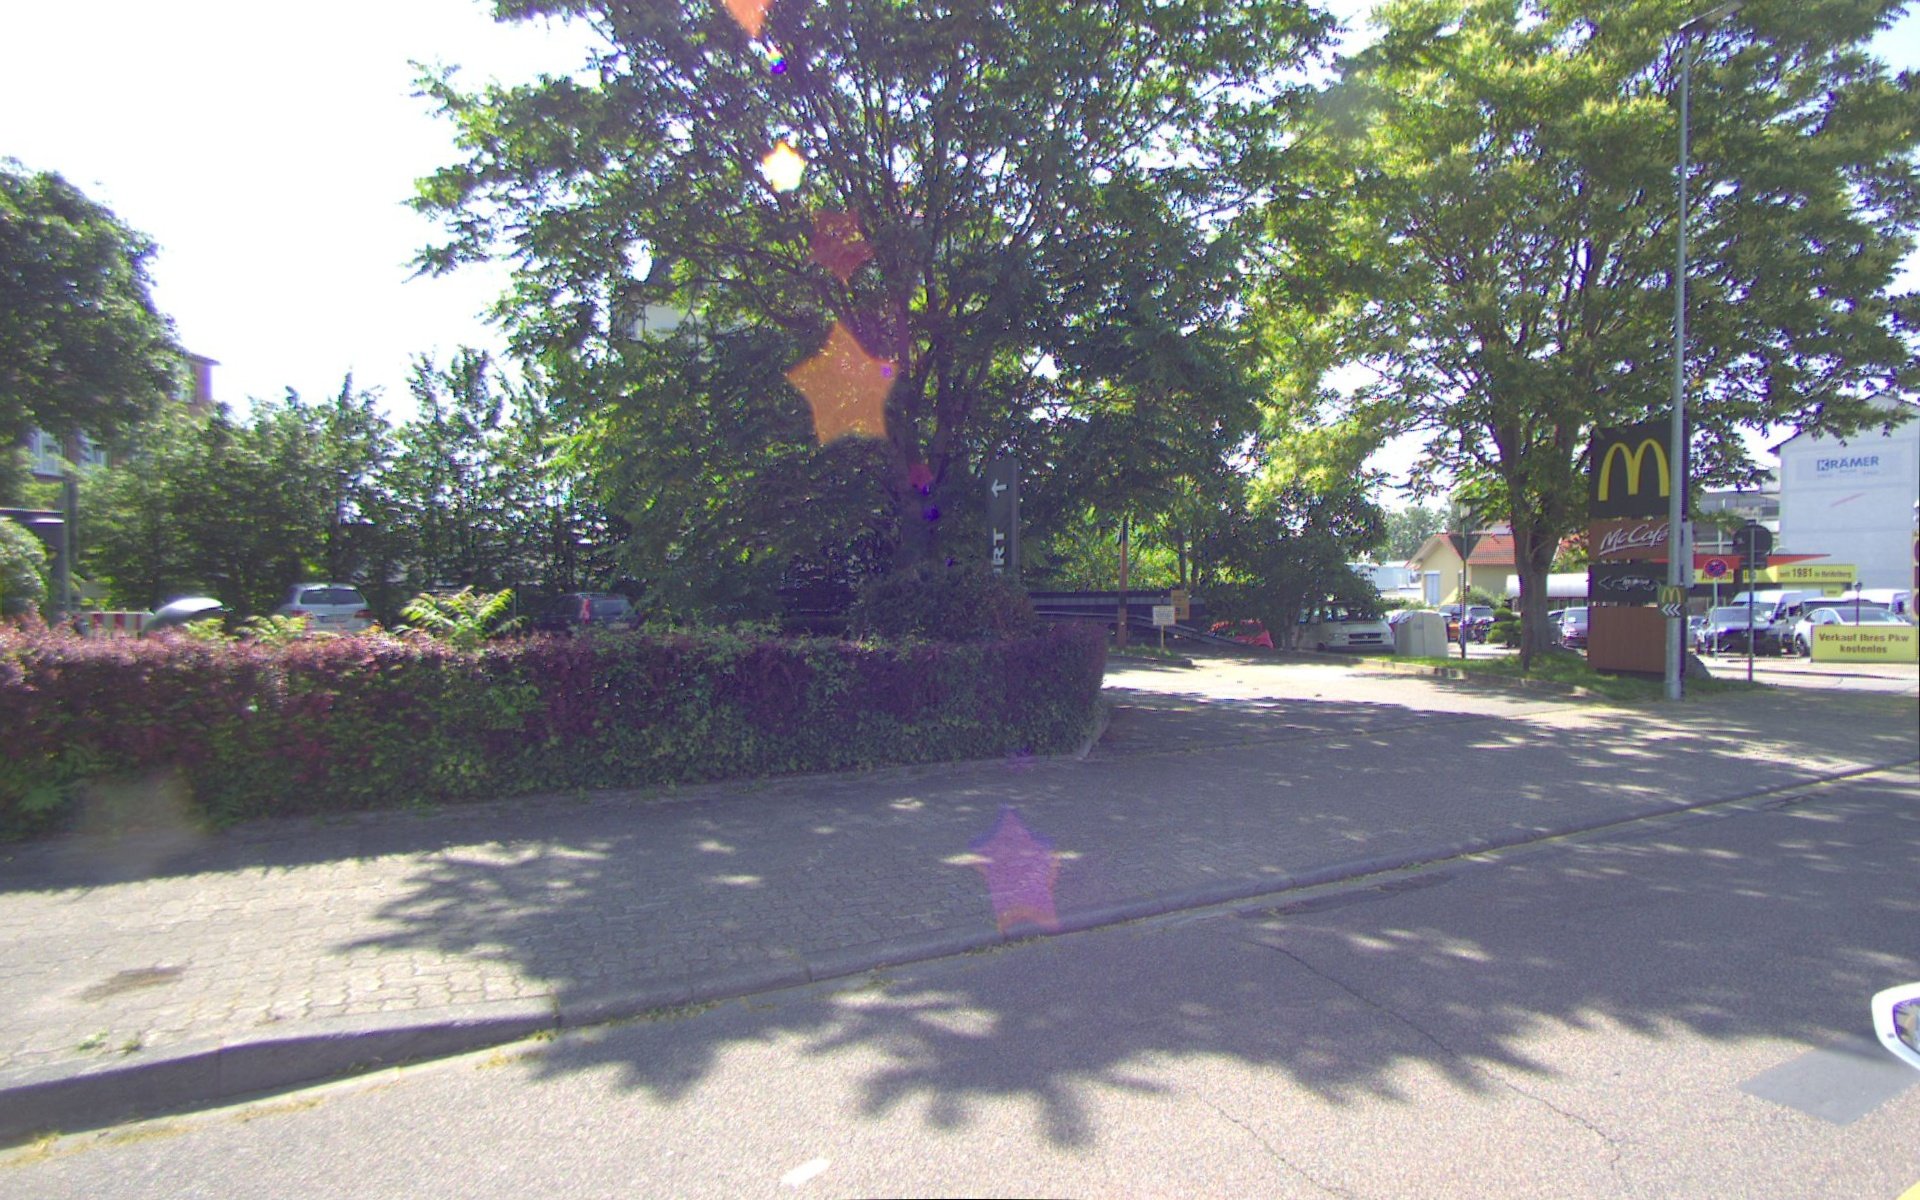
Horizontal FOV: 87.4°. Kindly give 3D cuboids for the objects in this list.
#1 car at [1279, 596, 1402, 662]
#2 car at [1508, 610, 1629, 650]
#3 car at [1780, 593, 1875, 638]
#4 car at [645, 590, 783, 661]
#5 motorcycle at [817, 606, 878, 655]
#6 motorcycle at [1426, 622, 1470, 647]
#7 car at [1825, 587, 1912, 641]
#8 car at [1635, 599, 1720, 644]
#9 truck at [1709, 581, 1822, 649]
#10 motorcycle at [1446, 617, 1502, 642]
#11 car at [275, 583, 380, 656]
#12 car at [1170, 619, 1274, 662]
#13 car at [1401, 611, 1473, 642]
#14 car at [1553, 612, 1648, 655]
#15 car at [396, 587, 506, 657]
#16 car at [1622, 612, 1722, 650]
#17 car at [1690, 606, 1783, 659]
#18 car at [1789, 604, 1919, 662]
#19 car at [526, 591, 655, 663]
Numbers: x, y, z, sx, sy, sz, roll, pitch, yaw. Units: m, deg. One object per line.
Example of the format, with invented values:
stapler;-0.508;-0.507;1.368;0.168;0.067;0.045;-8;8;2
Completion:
car;10.681;0.745;28.609;1.918;1.604;5.033;1;1;5
car;27.091;1.300;44.880;4.248;1.606;2.000;1;0;17
car;36.543;0.657;42.280;4.674;1.761;1.865;1;1;-35
car;-6.110;0.557;24.714;1.649;1.490;3.855;-1;3;-43
motorcycle;-2.890;0.765;25.755;1.578;1.185;0.568;1;1;34
motorcycle;24.766;1.759;51.015;1.837;1.174;0.790;1;0;6
car;41.415;0.613;45.757;4.667;2.315;2.120;1;0;-37
car;34.685;1.041;48.503;4.451;2.040;1.980;1;0;-35
truck;37.023;0.669;46.115;5.879;2.943;2.256;1;1;-33
motorcycle;27.324;1.576;53.421;2.673;1.243;0.996;1;0;-14
car;-15.791;0.415;24.988;1.759;1.593;3.954;-1;2;-39
car;9.373;1.437;36.059;3.350;1.397;1.485;0;2;-5
car;27.155;1.498;57.342;1.962;1.606;3.997;1;0;-4
car;24.591;1.275;38.534;3.962;1.530;1.775;1;0;-37
car;-12.836;0.478;25.210;1.758;1.490;3.956;-1;3;-38
car;29.522;1.287;41.644;3.949;1.507;1.781;1;0;-28
car;26.464;1.063;34.392;2.017;1.616;4.413;2;0;32
car;29.478;1.031;33.183;1.961;1.748;4.000;1;0;20
car;-8.922;0.571;24.110;1.690;1.473;3.953;-1;2;-40
